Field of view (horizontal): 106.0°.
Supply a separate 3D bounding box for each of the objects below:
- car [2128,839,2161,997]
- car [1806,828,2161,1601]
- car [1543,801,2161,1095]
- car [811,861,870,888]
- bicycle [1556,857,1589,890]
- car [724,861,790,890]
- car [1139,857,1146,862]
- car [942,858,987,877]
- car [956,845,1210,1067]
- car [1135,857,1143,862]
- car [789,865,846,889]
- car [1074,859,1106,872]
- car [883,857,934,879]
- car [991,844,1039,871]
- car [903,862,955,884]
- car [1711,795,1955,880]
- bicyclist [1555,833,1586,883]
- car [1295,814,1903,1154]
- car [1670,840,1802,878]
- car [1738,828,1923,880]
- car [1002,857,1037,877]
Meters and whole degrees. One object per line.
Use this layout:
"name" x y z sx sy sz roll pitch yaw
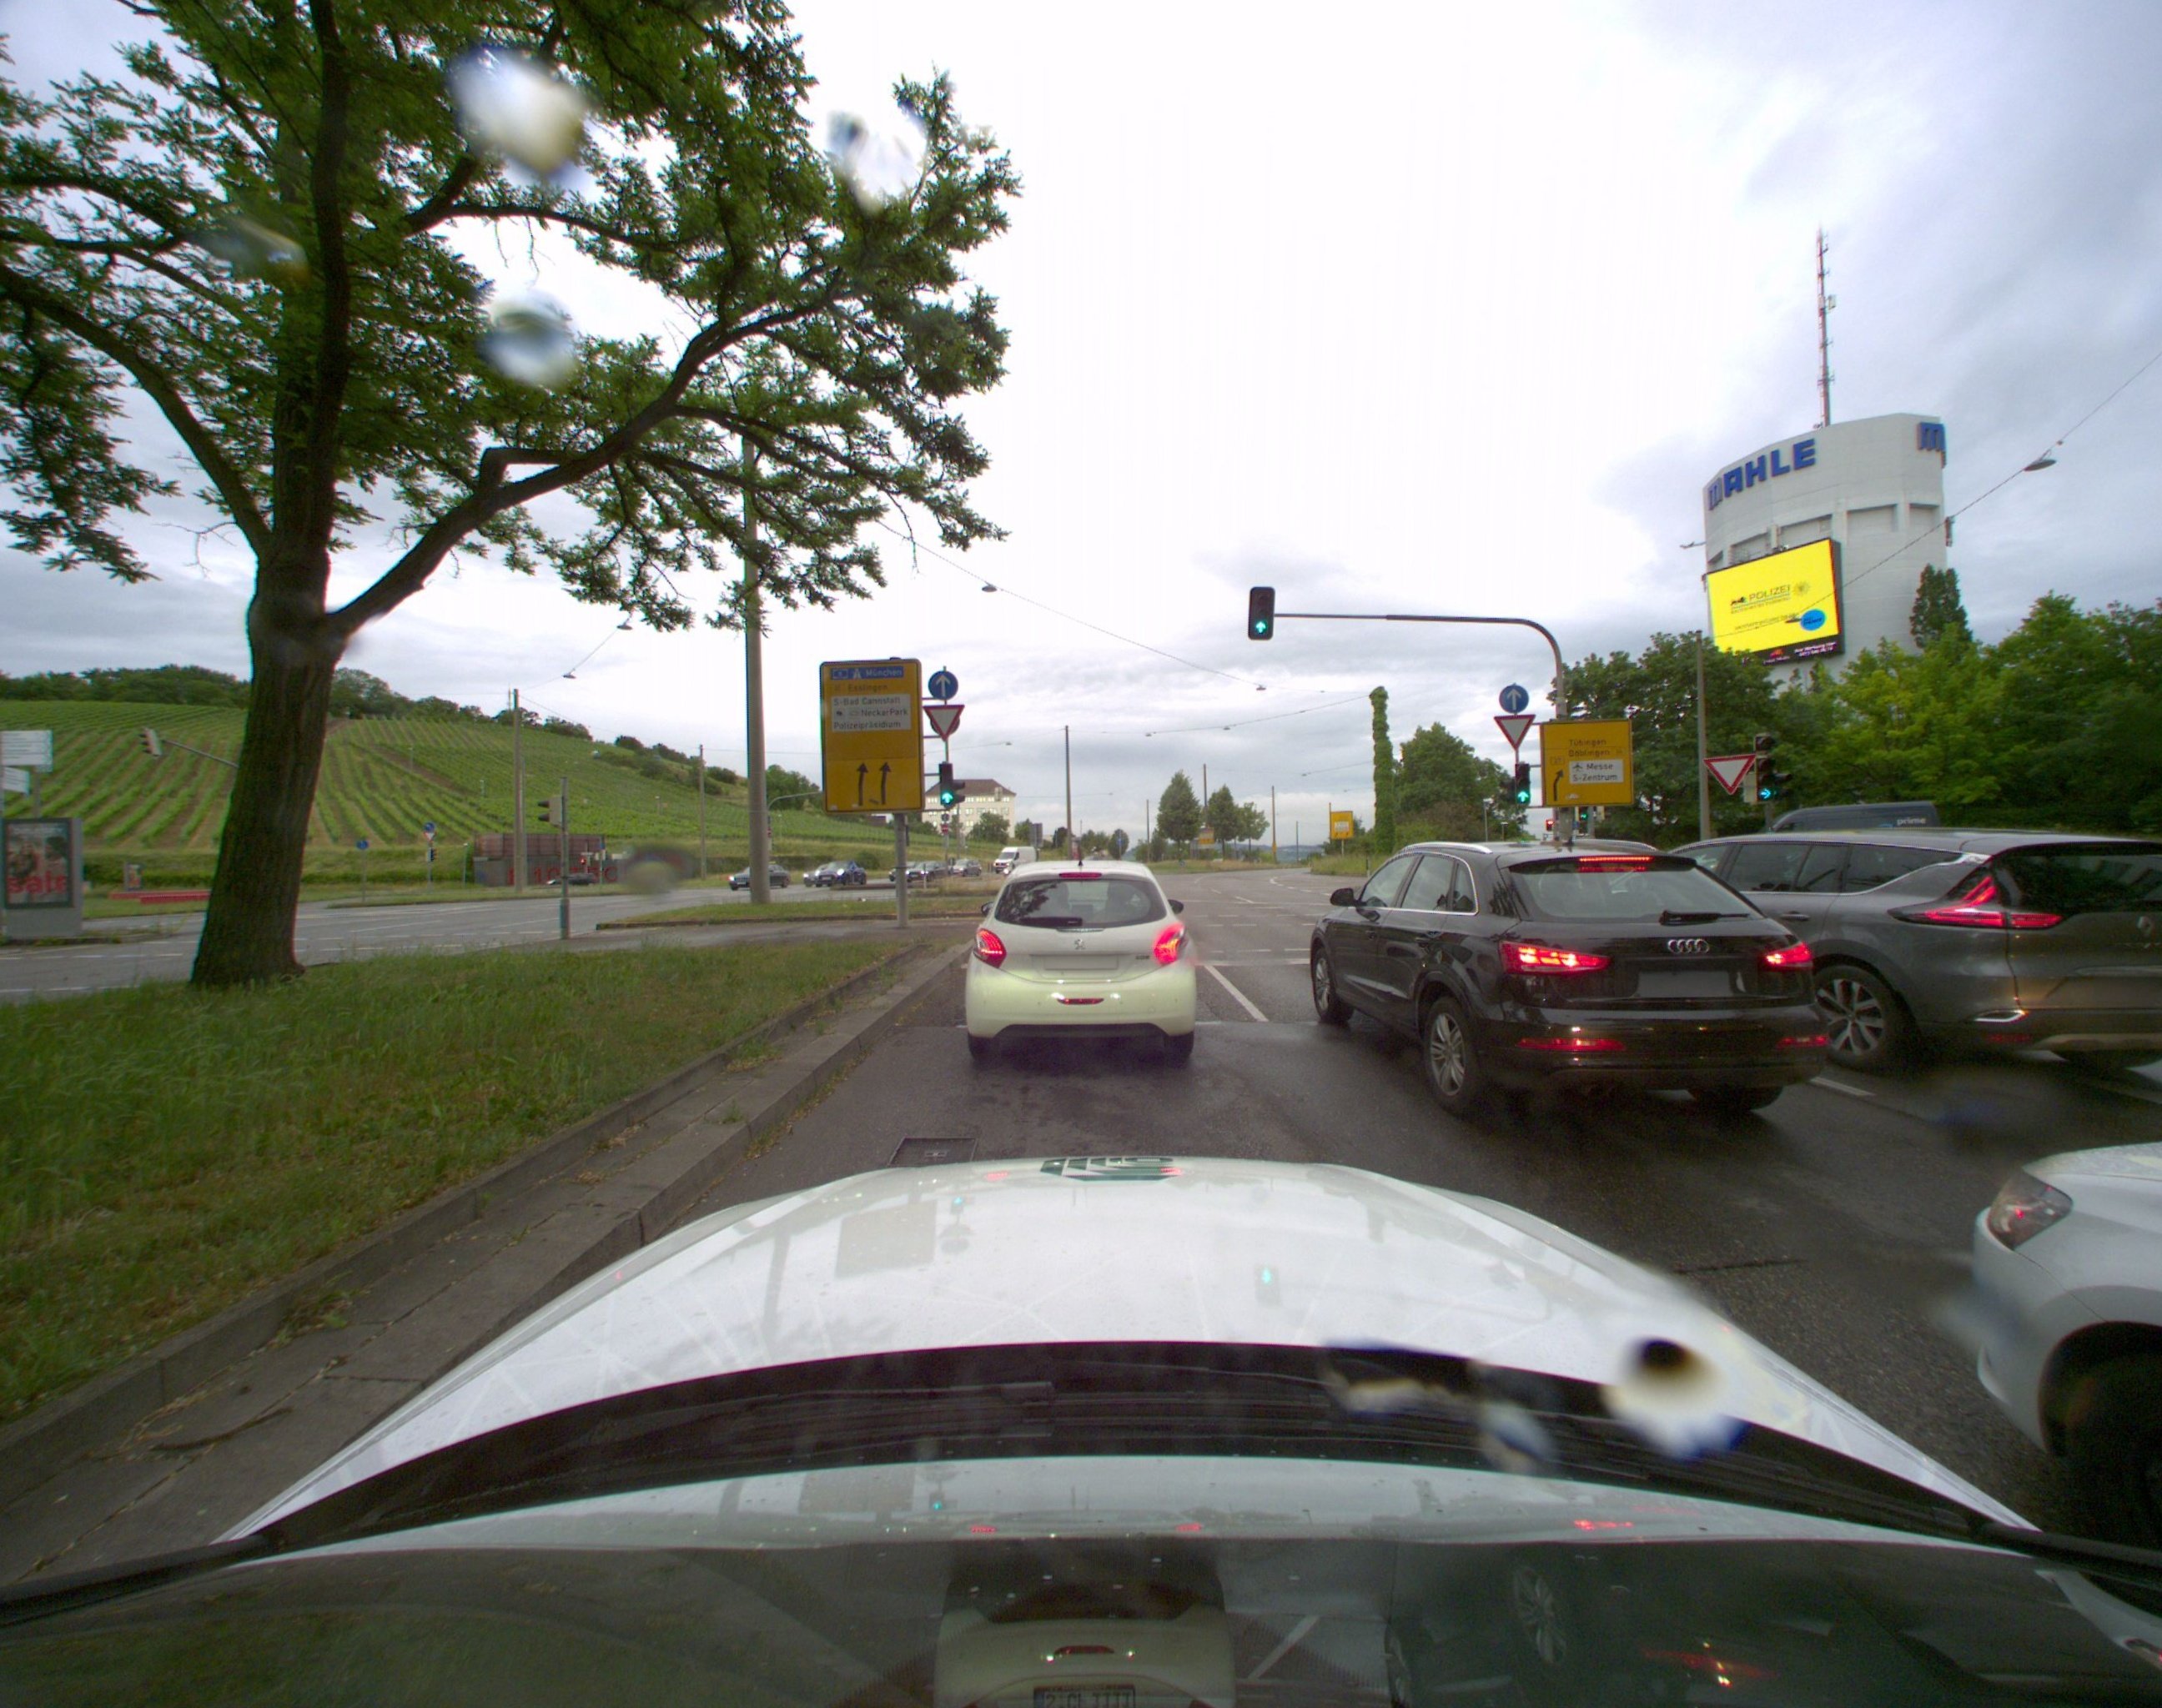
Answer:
"car" 10.225 0.545 5.732 1.847 1.498 4.176 -4 -2 27
"car" 2.844 0.663 0.359 1.734 1.432 3.812 0 -1 1
"car" 6.153 0.508 6.944 1.859 1.674 4.565 -1 1 0
"car" -13.041 1.116 44.378 1.778 1.395 3.887 0 -1 5
"bicycle" 15.911 0.617 26.407 0.801 1.023 2.343 -3 -1 29
"car" -18.845 1.227 47.639 1.822 1.623 4.569 0 -1 3
"car" 17.872 1.627 236.749 1.836 1.486 3.999 -1 0 -1
"car" -10.331 1.186 72.402 1.975 1.575 4.219 0 -1 25
"car" 0.045 0.708 7.533 1.712 1.489 4.000 -1 -1 1
"car" 17.486 1.703 245.142 1.836 1.486 3.999 -1 0 -1
"car" -15.924 1.366 49.391 1.777 1.395 3.889 0 -1 7
"car" 1.104 1.329 97.449 1.974 1.513 4.258 0 -1 32
"car" -13.183 1.059 62.586 1.810 1.472 4.688 -1 1 15
"car" -6.627 0.369 82.596 1.975 2.559 6.205 0 -1 25
"car" -10.855 1.340 58.485 1.888 1.489 4.909 0 -1 12
"car" 26.229 -0.475 28.795 5.953 2.741 2.094 -1 -2 27
"bicyclist" 15.873 0.122 26.414 0.801 1.584 1.029 0 -1 28
"car" 3.000 0.632 5.924 1.877 1.595 4.114 0 -1 1
"car" 28.284 0.214 35.343 4.094 1.564 1.881 -1 -1 22
"car" 24.244 0.044 26.546 4.012 1.569 1.881 -1 -2 25
"car" -4.673 1.004 62.450 1.766 1.425 4.382 -2 -1 7
